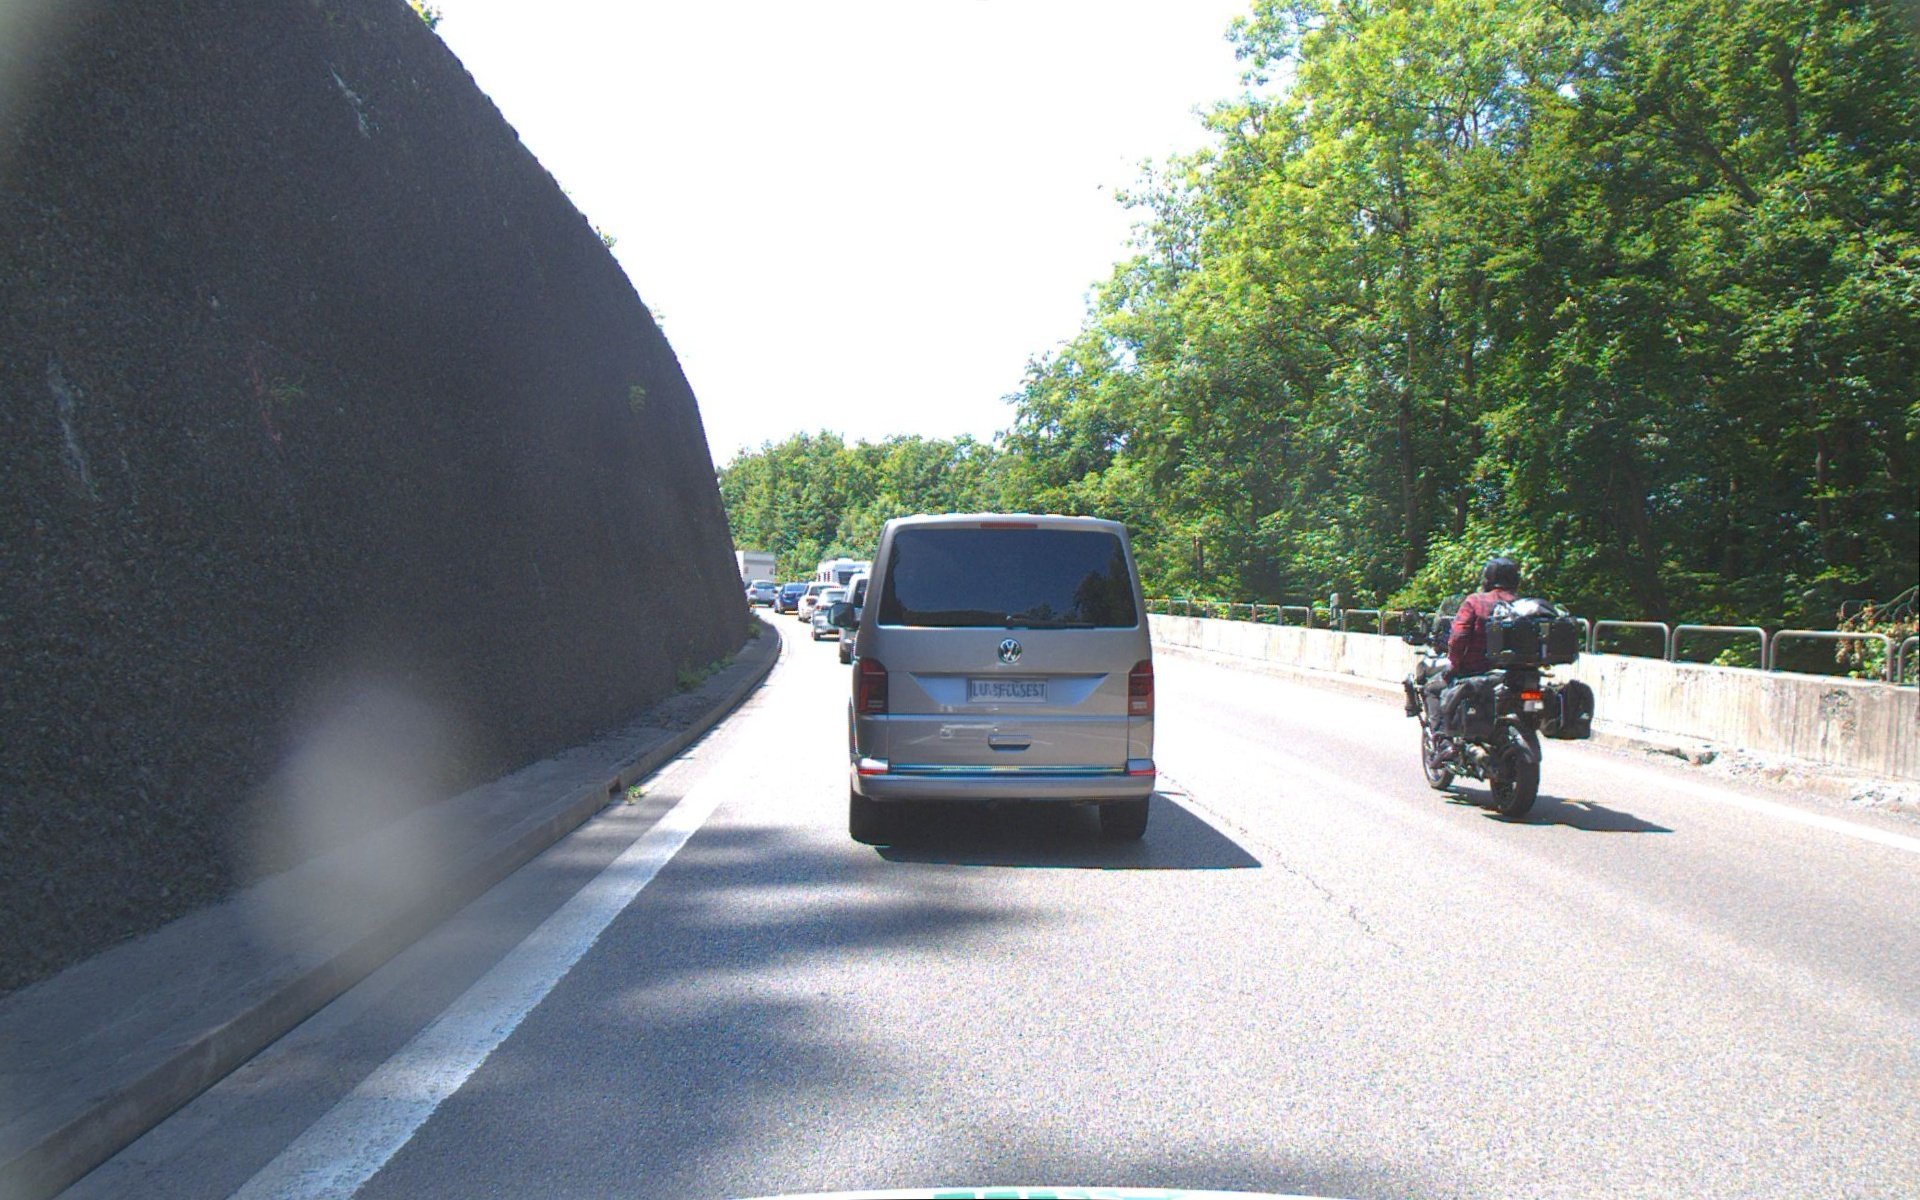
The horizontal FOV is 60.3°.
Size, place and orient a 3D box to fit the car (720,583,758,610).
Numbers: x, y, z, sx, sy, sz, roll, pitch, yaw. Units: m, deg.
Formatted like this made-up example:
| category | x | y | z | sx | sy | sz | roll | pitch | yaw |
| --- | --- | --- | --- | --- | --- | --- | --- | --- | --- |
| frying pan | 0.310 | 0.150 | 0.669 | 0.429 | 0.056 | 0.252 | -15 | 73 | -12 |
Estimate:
| category | x | y | z | sx | sy | sz | roll | pitch | yaw |
| --- | --- | --- | --- | --- | --- | --- | --- | --- | --- |
| car | -14.114 | -0.239 | 105.679 | 1.724 | 1.598 | 3.752 | 2 | 0 | -18 |

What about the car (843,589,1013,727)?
| category | x | y | z | sx | sy | sz | roll | pitch | yaw |
| --- | --- | --- | --- | --- | --- | --- | --- | --- | --- |
| car | -0.520 | 0.664 | 21.405 | 1.868 | 1.515 | 4.375 | 3 | 0 | -5 |

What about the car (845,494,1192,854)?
| category | x | y | z | sx | sy | sz | roll | pitch | yaw |
| --- | --- | --- | --- | --- | --- | --- | --- | --- | --- |
| car | 0.291 | 0.402 | 11.640 | 1.901 | 1.965 | 4.693 | 2 | 0 | -1 |

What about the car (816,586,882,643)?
| category | x | y | z | sx | sy | sz | roll | pitch | yaw |
| --- | --- | --- | --- | --- | --- | --- | --- | --- | --- |
| car | -3.176 | 0.387 | 46.753 | 1.737 | 1.498 | 3.996 | 1 | 0 | -5 |

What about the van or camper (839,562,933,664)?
| category | x | y | z | sx | sy | sz | roll | pitch | yaw |
| --- | --- | --- | --- | --- | --- | --- | --- | --- | --- |
| van or camper | -1.589 | 0.239 | 34.556 | 1.817 | 1.976 | 4.162 | 1 | 0 | -4 |

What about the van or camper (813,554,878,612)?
| category | x | y | z | sx | sy | sz | roll | pitch | yaw |
| --- | --- | --- | --- | --- | --- | --- | --- | --- | --- |
| van or camper | -6.429 | -0.977 | 92.163 | 2.558 | 2.904 | 6.318 | 5 | 0 | -12 |

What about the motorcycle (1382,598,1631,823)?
| category | x | y | z | sx | sy | sz | roll | pitch | yaw |
| --- | --- | --- | --- | --- | --- | --- | --- | --- | --- |
| motorcycle | 3.935 | 0.725 | 12.219 | 0.952 | 1.444 | 2.681 | 1 | 0 | 1 |

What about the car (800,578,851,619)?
| category | x | y | z | sx | sy | sz | roll | pitch | yaw |
| --- | --- | --- | --- | --- | --- | --- | --- | --- | --- |
| car | -5.263 | -0.059 | 64.514 | 1.827 | 1.512 | 3.994 | 1 | 0 | -7 |

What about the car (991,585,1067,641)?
| category | x | y | z | sx | sy | sz | roll | pitch | yaw |
| --- | --- | --- | --- | --- | --- | --- | --- | --- | --- |
| car | 1.942 | 0.338 | 47.615 | 1.652 | 1.484 | 3.996 | 3 | 0 | -4 |

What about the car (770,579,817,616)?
| category | x | y | z | sx | sy | sz | roll | pitch | yaw |
| --- | --- | --- | --- | --- | --- | --- | --- | --- | --- |
| car | -7.916 | -0.143 | 78.263 | 1.825 | 1.648 | 3.989 | 1 | 0 | -11 |

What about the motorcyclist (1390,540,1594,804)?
| category | x | y | z | sx | sy | sz | roll | pitch | yaw |
| --- | --- | --- | --- | --- | --- | --- | --- | --- | --- |
| motorcyclist | 3.921 | 0.506 | 12.312 | 1.039 | 1.832 | 1.338 | 1 | 0 | -1 |

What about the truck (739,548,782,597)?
| category | x | y | z | sx | sy | sz | roll | pitch | yaw |
| --- | --- | --- | --- | --- | --- | --- | --- | --- | --- |
| truck | -15.779 | -2.140 | 130.486 | 2.873 | 3.751 | 7.704 | 1 | 0 | -11 |

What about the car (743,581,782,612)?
| category | x | y | z | sx | sy | sz | roll | pitch | yaw |
| --- | --- | --- | --- | --- | --- | --- | --- | --- | --- |
| car | -11.037 | -0.206 | 92.630 | 1.954 | 1.646 | 3.997 | 1 | 0 | -4 |
